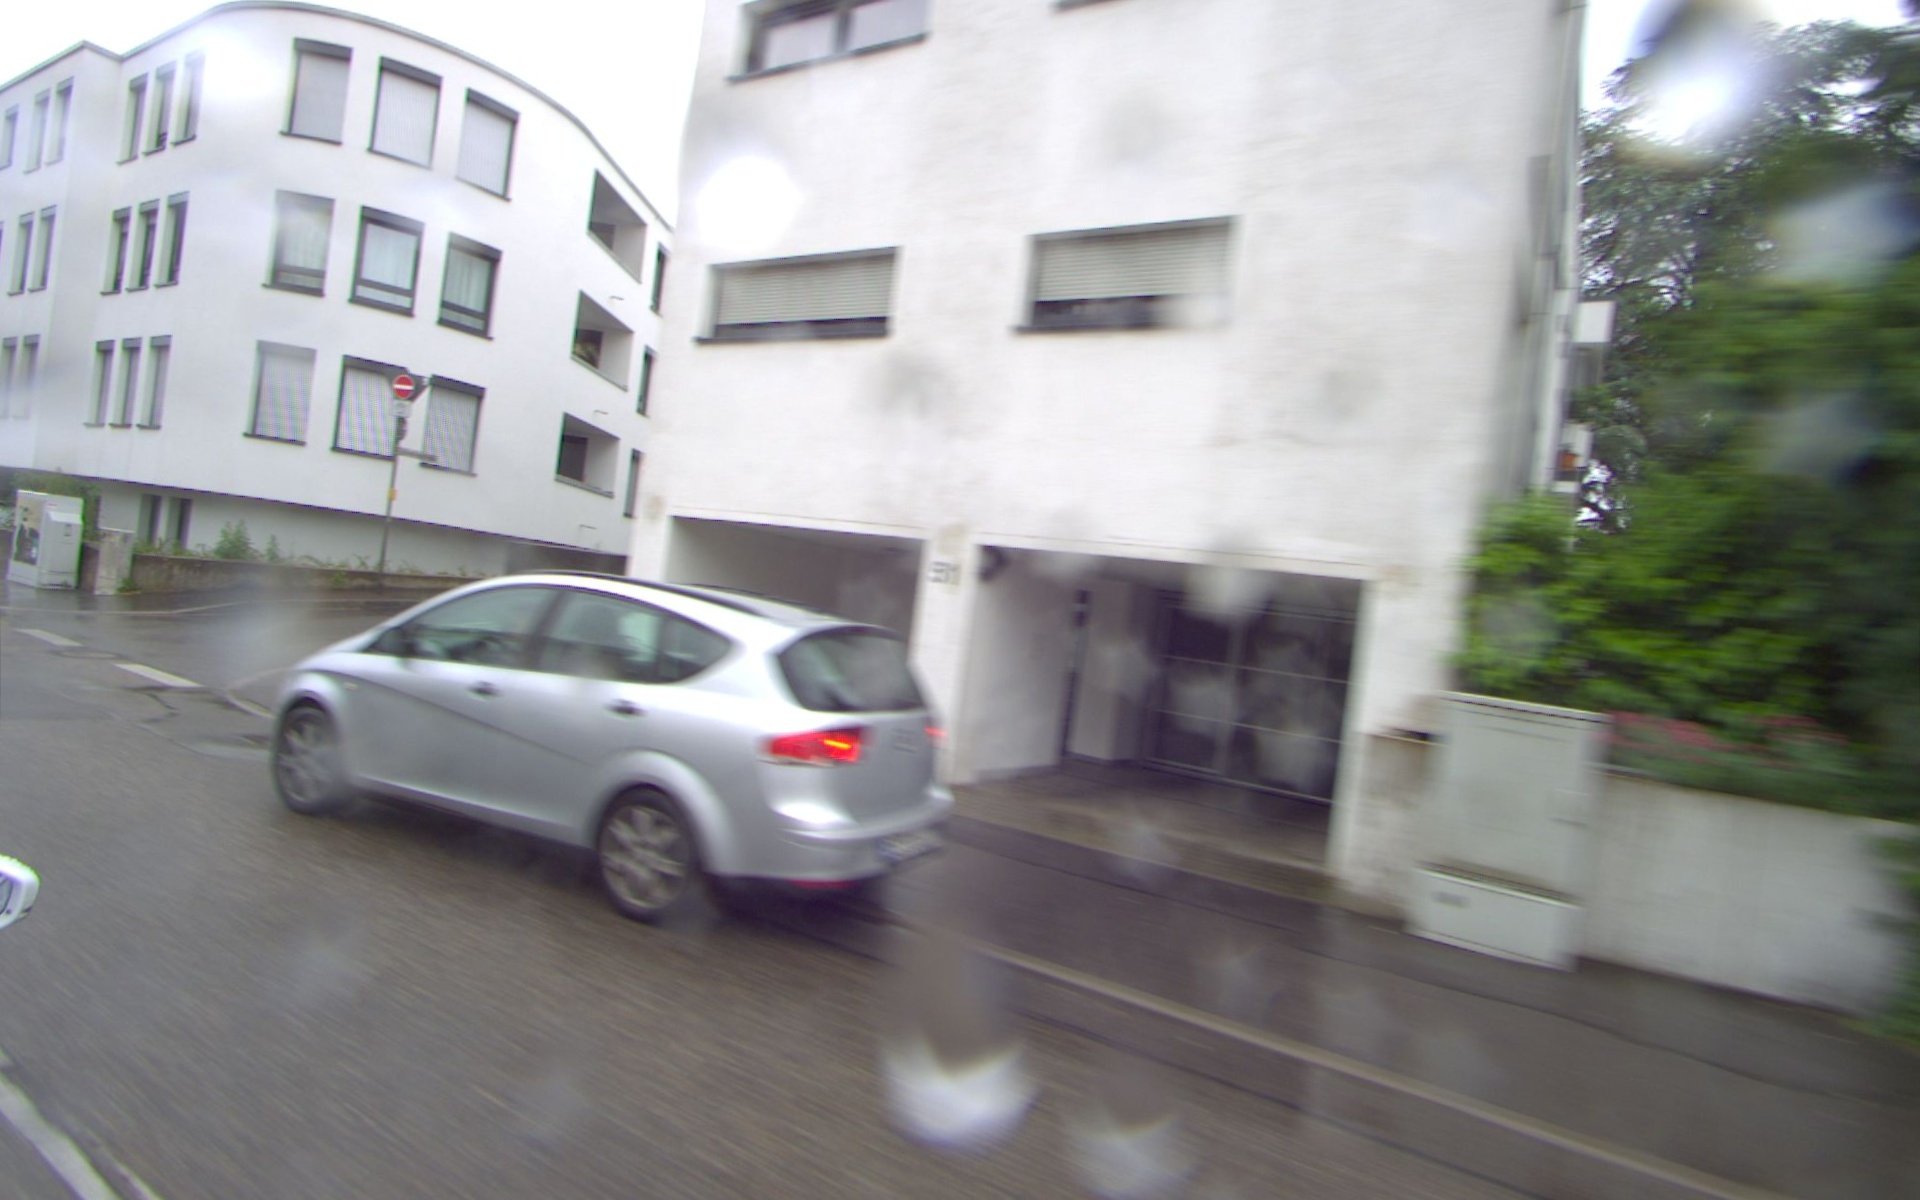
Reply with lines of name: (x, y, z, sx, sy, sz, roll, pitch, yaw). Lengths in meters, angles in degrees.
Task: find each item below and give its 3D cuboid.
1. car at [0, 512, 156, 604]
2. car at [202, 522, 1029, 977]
car: (-21.946, -1.105, 23.961, 1.790, 1.543, 3.810, 7, -7, 31)
car: (-2.029, 0.569, 5.732, 4.288, 1.640, 2.016, 4, -3, 30)
